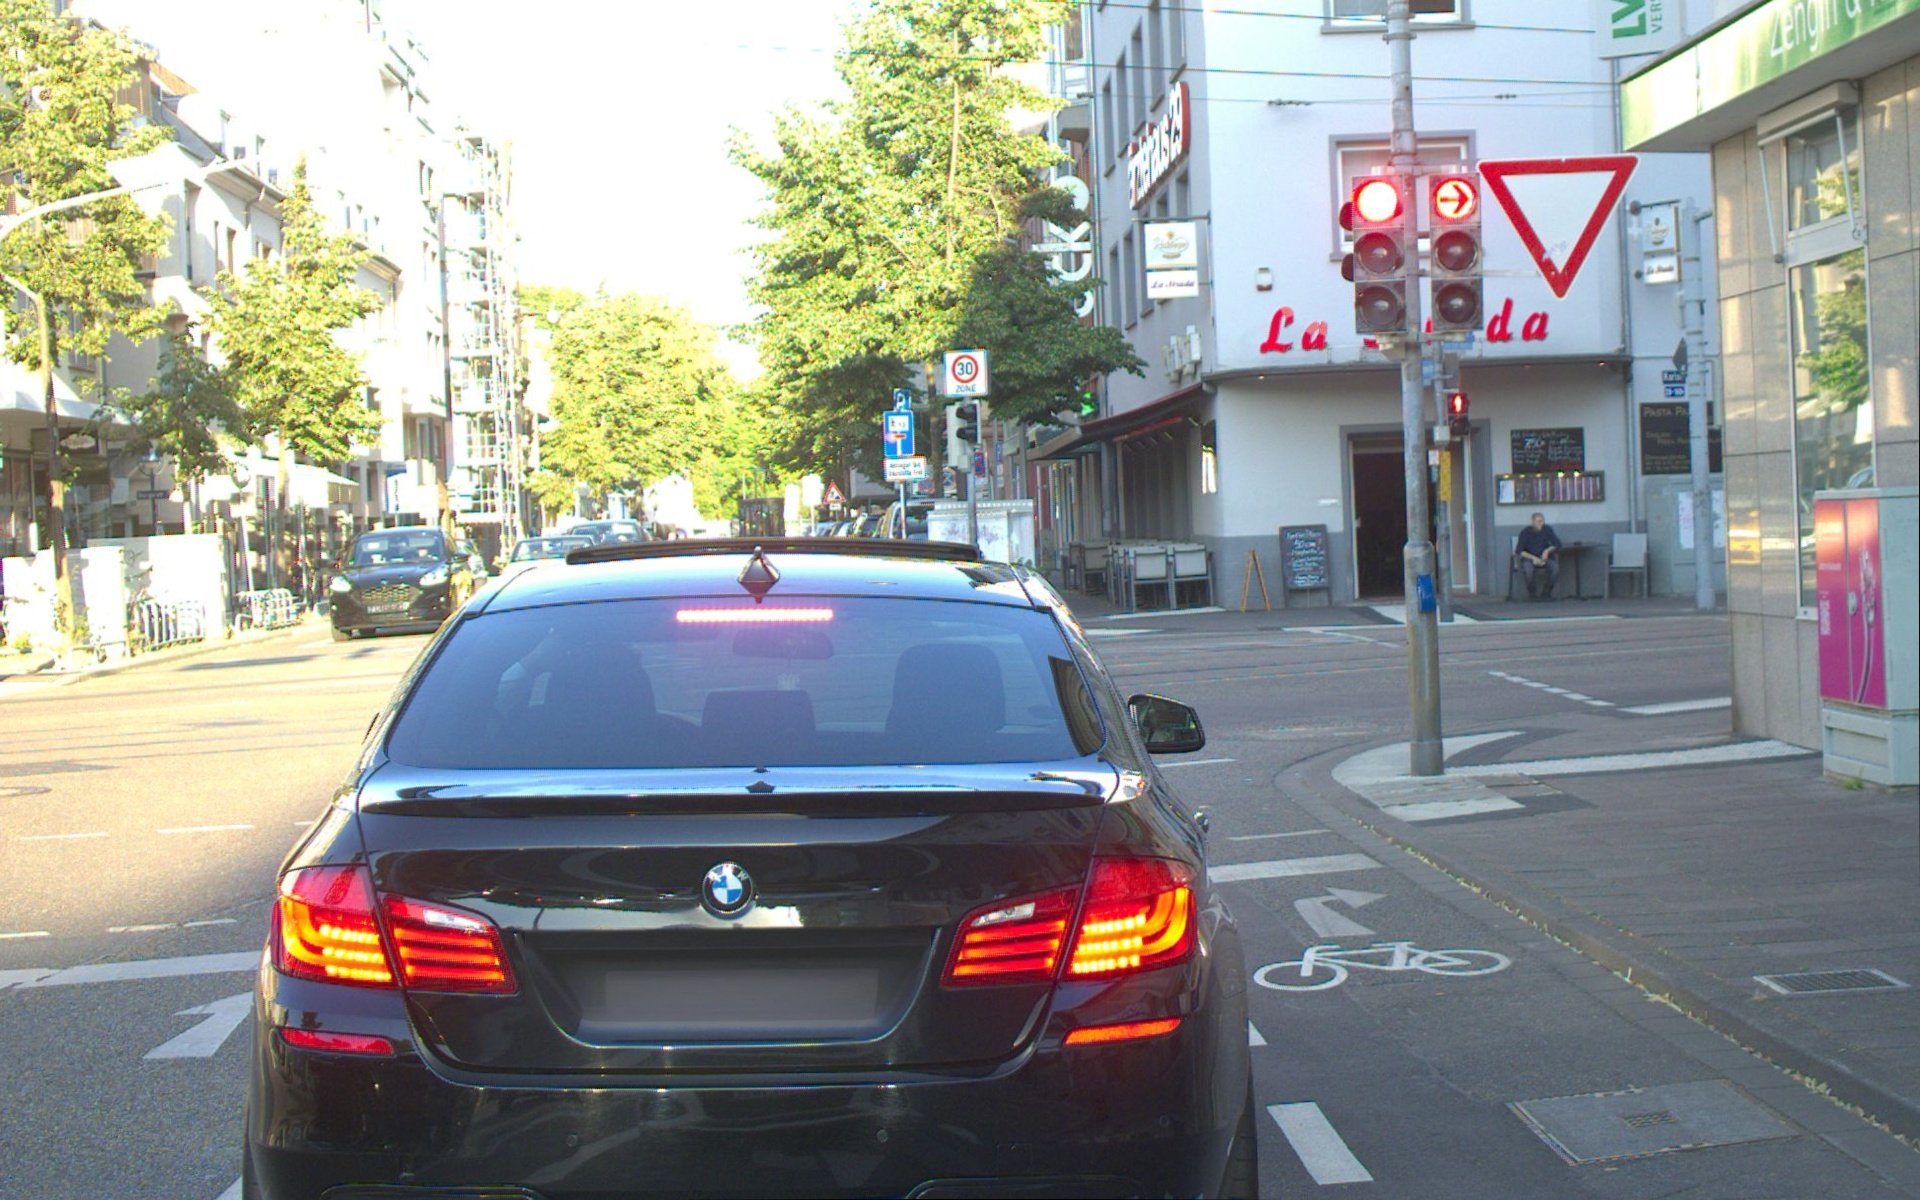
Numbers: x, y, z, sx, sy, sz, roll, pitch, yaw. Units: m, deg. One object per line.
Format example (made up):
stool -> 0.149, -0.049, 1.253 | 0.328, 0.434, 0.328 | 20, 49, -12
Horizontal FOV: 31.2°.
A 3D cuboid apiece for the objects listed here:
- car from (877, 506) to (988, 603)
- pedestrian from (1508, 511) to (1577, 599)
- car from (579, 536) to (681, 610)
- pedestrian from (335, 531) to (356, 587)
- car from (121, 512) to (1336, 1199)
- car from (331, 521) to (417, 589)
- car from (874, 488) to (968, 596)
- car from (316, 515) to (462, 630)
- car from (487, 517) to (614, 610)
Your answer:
car -> -0.466, -0.726, 54.593 | 1.625, 1.466, 3.395 | -1, 1, -2
pedestrian -> 7.843, -0.608, 46.315 | 0.697, 1.153, 0.844 | -2, 1, -3
car -> -6.216, -0.528, 64.438 | 1.733, 1.288, 4.001 | -2, 1, -7
pedestrian -> -15.740, -1.050, 88.066 | 0.444, 1.411, 0.525 | -2, 1, -4
car -> -0.466, 0.579, 7.649 | 1.903, 1.535, 4.450 | 0, 2, -3
car -> -13.448, -1.042, 79.012 | 1.733, 1.456, 4.001 | -2, 1, -7
car -> -0.716, -1.031, 60.989 | 1.421, 1.848, 3.053 | -1, 1, -5
car -> -8.635, -0.442, 52.233 | 1.993, 1.612, 4.001 | -2, 1, -7
car -> -6.889, -0.635, 57.668 | 1.993, 1.437, 4.001 | -2, 1, -7
